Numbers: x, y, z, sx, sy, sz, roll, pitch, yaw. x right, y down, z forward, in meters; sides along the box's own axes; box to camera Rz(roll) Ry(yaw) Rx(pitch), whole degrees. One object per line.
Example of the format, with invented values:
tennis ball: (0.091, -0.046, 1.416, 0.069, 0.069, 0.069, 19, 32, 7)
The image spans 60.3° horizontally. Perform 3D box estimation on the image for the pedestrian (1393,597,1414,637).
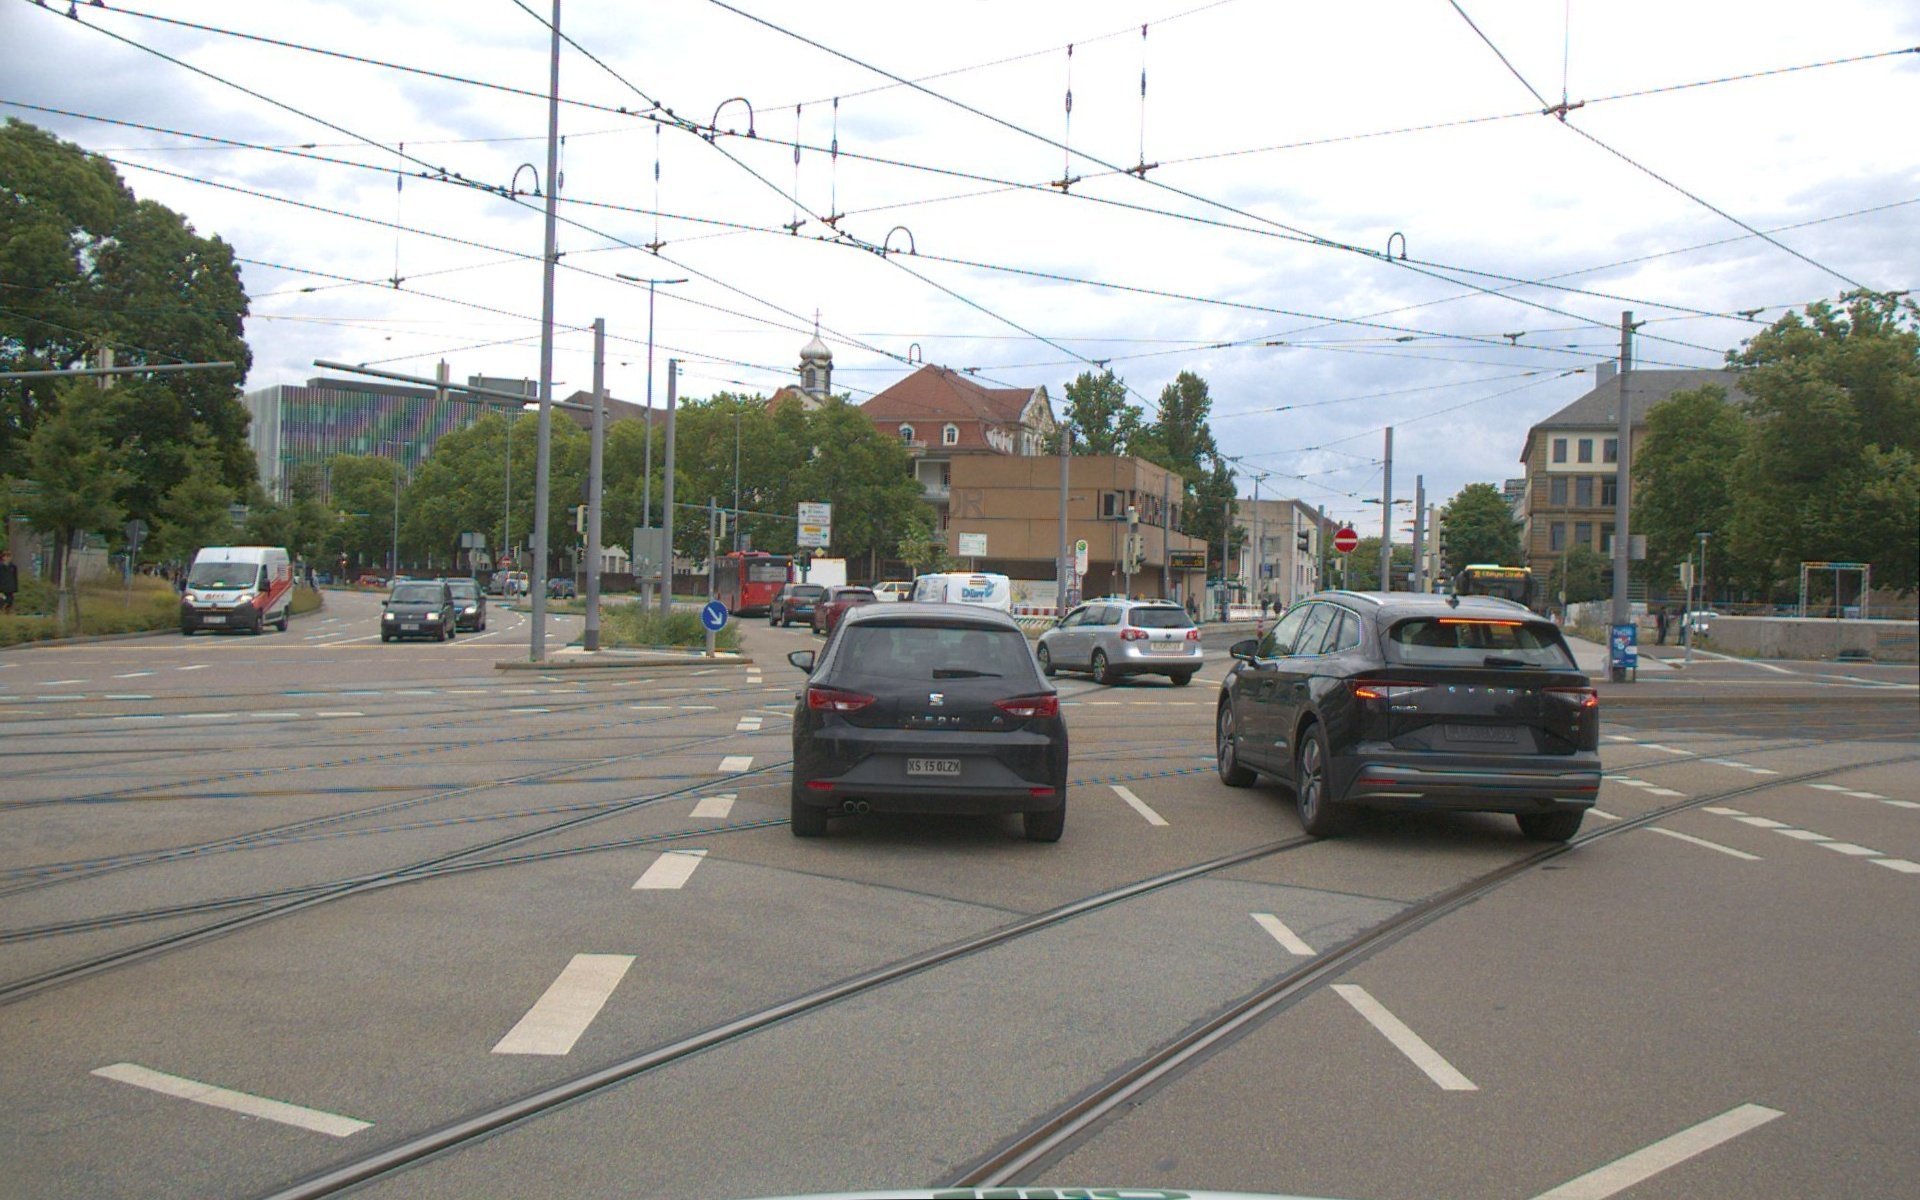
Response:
pedestrian: (20.816, 0.814, 77.586, 0.807, 1.840, 1.021, 1, 0, 22)

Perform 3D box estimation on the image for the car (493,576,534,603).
car: (-35.060, -0.865, 129.919, 1.975, 2.049, 3.955, 1, 0, -33)

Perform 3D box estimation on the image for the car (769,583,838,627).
car: (-6.173, 0.169, 64.672, 1.961, 1.593, 4.187, 1, 0, -16)

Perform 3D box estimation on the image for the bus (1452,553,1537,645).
bus: (21.896, 0.008, 67.471, 2.953, 3.325, 13.046, 1, 0, 19)

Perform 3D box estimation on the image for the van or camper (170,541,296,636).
van or camper: (-20.987, -0.333, 48.002, 2.239, 2.572, 5.557, 0, 0, -12)

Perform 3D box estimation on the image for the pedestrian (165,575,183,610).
pedestrian: (-35.629, -0.342, 74.965, 0.552, 1.568, 0.752, 2, 0, -17)

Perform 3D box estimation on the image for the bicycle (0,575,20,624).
bicycle: (-29.551, -0.028, 49.807, 0.828, 1.474, 2.256, 1, 0, 12)

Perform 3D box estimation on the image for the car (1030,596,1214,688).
car: (2.885, 0.717, 30.537, 1.694, 1.508, 4.605, 0, 0, -18)

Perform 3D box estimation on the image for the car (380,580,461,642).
car: (-14.015, 0.266, 43.111, 1.590, 1.542, 3.654, 0, 0, -12)

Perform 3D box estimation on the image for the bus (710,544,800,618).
bus: (-10.470, -0.929, 83.203, 3.006, 3.355, 12.335, 2, 0, -14)

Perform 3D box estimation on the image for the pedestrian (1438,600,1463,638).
pedestrian: (22.205, 0.856, 74.844, 0.984, 1.673, 1.021, 1, 0, 22)

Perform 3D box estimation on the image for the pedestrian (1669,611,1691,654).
pedestrian: (31.984, 1.447, 73.491, 0.807, 1.886, 1.021, 1, 0, 22)

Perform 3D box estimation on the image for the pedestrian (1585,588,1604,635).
pedestrian: (58.379, 1.058, 152.155, 1.279, 4.328, 1.348, 1, 0, 7)

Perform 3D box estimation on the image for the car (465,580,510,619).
car: (-22.117, -0.046, 77.400, 1.842, 1.755, 4.688, 0, 0, -18)

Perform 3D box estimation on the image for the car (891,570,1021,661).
car: (-0.173, 0.339, 40.421, 1.960, 2.054, 5.012, 1, 0, -15)

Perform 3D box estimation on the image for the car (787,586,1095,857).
car: (-0.285, 0.686, 11.441, 1.712, 1.489, 3.995, 2, 0, -5)

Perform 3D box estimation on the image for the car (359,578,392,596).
car: (-58.099, -1.280, 164.339, 1.978, 1.780, 3.948, 1, 0, -36)

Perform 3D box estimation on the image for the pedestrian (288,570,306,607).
pedestrian: (-33.418, -0.579, 83.367, 0.744, 1.874, 0.763, 1, 0, -16)

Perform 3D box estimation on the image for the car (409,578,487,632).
car: (-15.509, 0.137, 50.278, 1.838, 1.534, 4.466, -1, 1, -12)

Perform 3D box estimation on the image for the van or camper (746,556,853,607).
van or camper: (-11.217, -1.244, 116.019, 7.079, 3.390, 2.837, 1, -1, -38)

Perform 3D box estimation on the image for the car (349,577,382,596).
car: (-56.057, -1.252, 155.924, 1.976, 1.711, 3.965, 1, 0, -33)

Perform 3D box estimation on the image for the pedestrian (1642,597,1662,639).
pedestrian: (30.822, 0.819, 73.722, 0.807, 1.840, 1.021, 0, -1, 22)

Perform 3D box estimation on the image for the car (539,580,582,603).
car: (-28.945, -0.604, 119.795, 1.972, 1.566, 3.960, 1, 0, -30)

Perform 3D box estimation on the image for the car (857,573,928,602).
car: (-4.922, -0.896, 120.960, 4.952, 1.897, 1.973, 1, -3, -38)

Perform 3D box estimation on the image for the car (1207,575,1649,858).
car: (3.201, 0.703, 12.356, 1.865, 1.687, 4.513, 1, 0, -2)

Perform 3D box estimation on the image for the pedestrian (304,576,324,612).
pedestrian: (-33.700, -0.309, 86.316, 0.878, 1.874, 0.664, 1, 0, -16)

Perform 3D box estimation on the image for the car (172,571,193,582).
car: (-99.115, -3.017, 210.802, 1.698, 1.287, 3.296, 3, -2, -37)

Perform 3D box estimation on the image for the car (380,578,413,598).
car: (-49.960, -1.047, 146.634, 1.974, 1.668, 3.957, 1, 0, -31)

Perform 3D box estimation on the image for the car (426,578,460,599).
car: (-45.867, -0.998, 146.689, 1.974, 1.780, 3.957, 1, 0, -32)

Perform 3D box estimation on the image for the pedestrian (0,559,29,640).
pedestrian: (-24.084, -0.021, 41.752, 0.803, 2.015, 0.657, 1, 0, -8)

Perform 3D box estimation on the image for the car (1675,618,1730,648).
car: (44.302, 1.952, 98.779, 1.869, 1.691, 4.003, 2, 0, 7)

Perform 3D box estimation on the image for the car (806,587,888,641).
car: (-3.696, 0.422, 53.510, 1.827, 1.628, 4.187, 1, 0, -16)

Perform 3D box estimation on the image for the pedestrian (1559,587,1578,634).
pedestrian: (56.016, 0.966, 152.300, 1.357, 4.328, 1.348, 1, 0, 9)
